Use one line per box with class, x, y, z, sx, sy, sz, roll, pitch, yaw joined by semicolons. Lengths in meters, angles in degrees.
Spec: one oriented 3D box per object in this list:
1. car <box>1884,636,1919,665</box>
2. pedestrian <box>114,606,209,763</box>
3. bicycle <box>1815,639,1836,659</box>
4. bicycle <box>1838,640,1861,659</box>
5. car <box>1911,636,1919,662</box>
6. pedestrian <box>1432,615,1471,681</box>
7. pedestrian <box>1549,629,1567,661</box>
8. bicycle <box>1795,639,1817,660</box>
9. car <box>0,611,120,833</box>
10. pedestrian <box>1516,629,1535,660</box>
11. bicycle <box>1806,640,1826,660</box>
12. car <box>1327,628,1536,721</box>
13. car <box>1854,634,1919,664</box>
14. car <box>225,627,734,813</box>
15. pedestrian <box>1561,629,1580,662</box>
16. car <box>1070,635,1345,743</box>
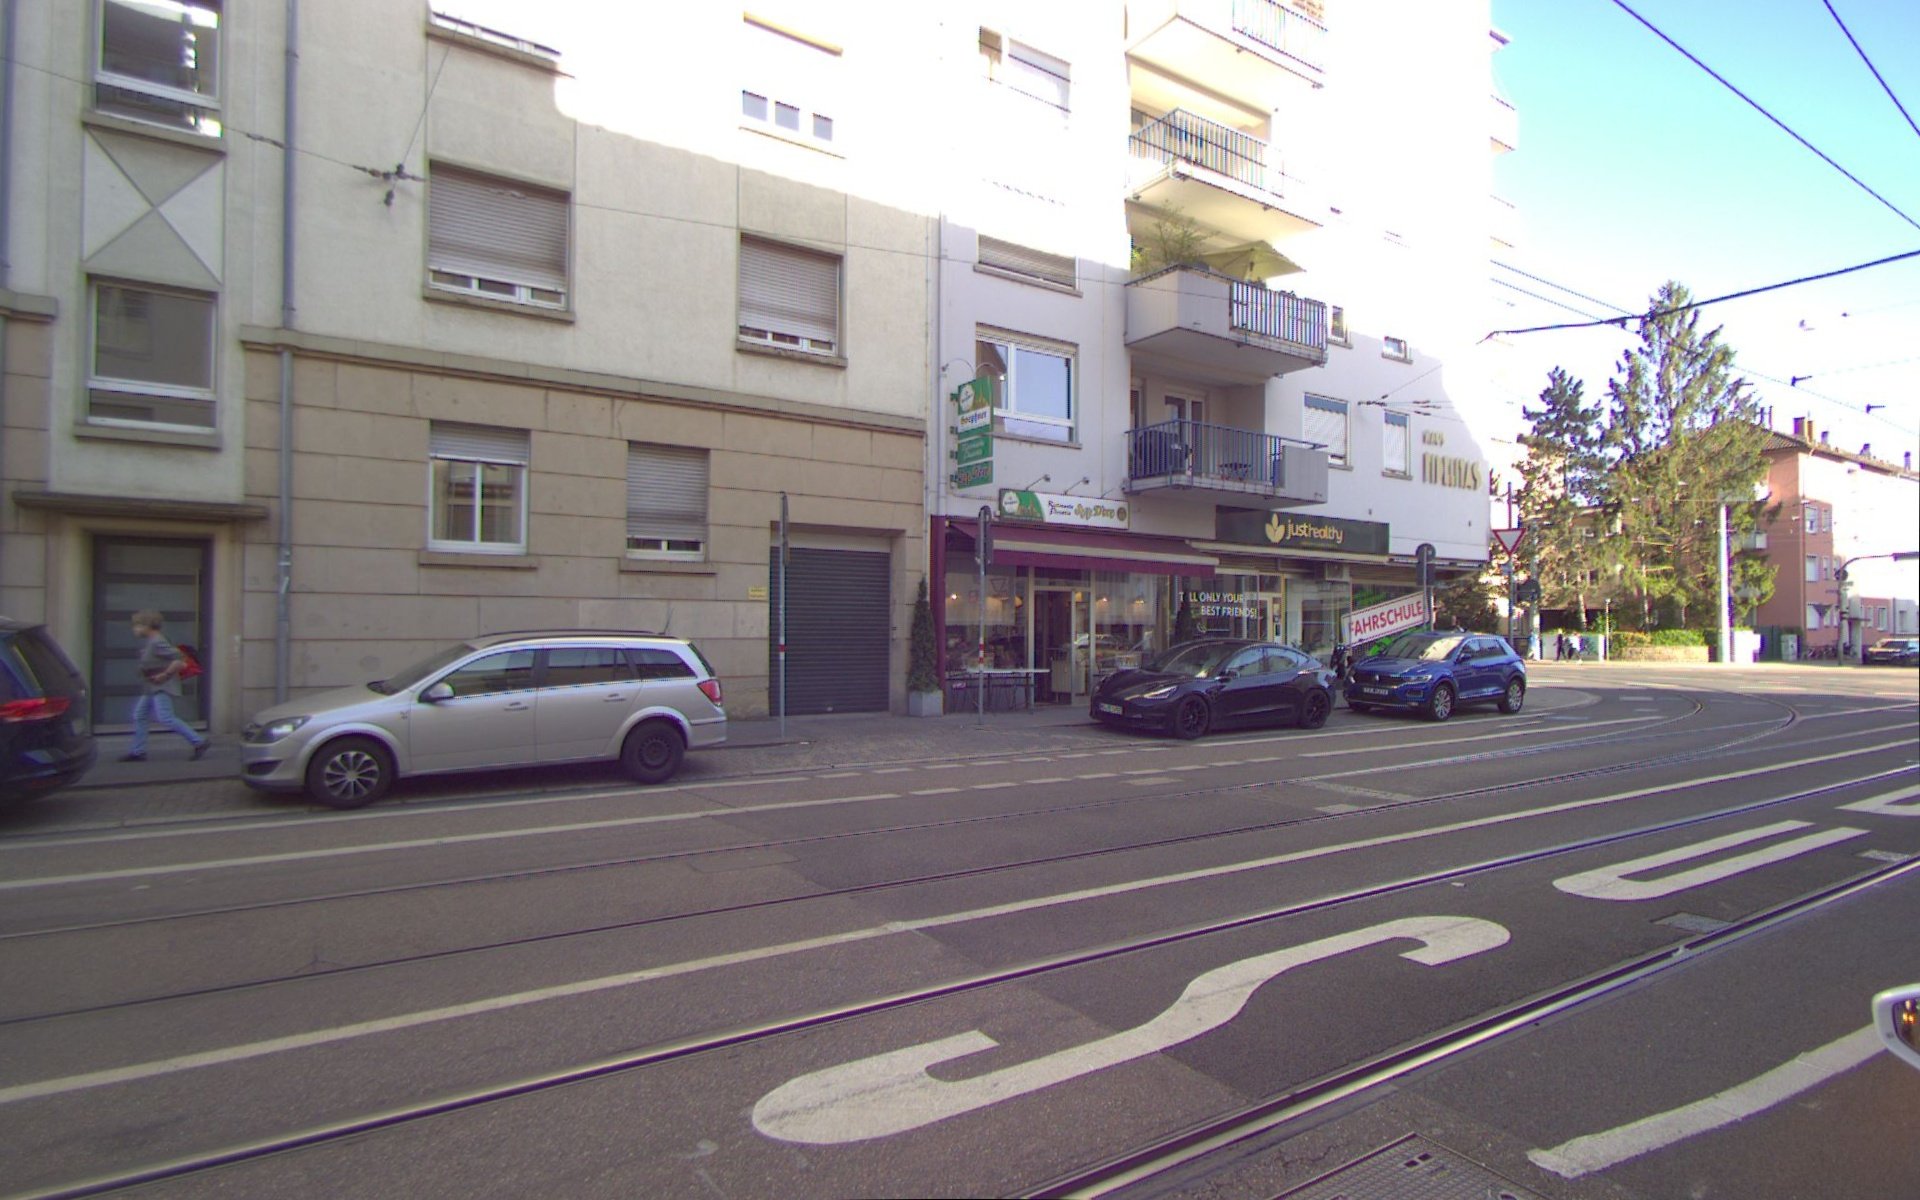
car;54.279;2.842;57.015;4.006;1.539;1.938;1;-2;-36
pedestrian;-8.295;0.854;10.461;0.686;1.562;0.565;1;-2;-32
bicycle;50.746;2.862;58.883;1.892;1.097;0.533;1;-2;-37
bicycle;53.163;2.940;60.028;1.892;1.097;0.605;1;-2;-37
car;58.133;2.900;59.454;3.961;1.539;1.938;1;-2;-36
pedestrian;14.017;1.351;28.672;0.707;1.859;0.771;0;-1;-3
pedestrian;32.462;2.448;54.532;0.798;1.725;0.632;-1;-2;37
bicycle;46.888;2.726;55.634;1.895;1.097;0.634;2;-2;-41
car;-8.988;0.877;7.192;4.343;1.620;1.785;1;-1;-34
pedestrian;32.095;2.524;56.995;0.800;1.725;0.676;-1;-2;44
bicycle;47.184;2.736;55.342;1.895;1.097;0.532;2;-2;-41
car;8.997;1.344;19.085;4.072;1.525;1.714;1;1;-34
car;49.731;2.618;53.785;3.961;1.539;1.938;1;-2;-36
car;-4.701;1.047;10.214;4.343;1.497;1.785;1;-1;-34
pedestrian;32.577;2.413;53.626;0.798;1.725;0.604;-1;-2;37
car;4.018;1.314;16.042;4.442;1.422;1.714;1;1;-34
